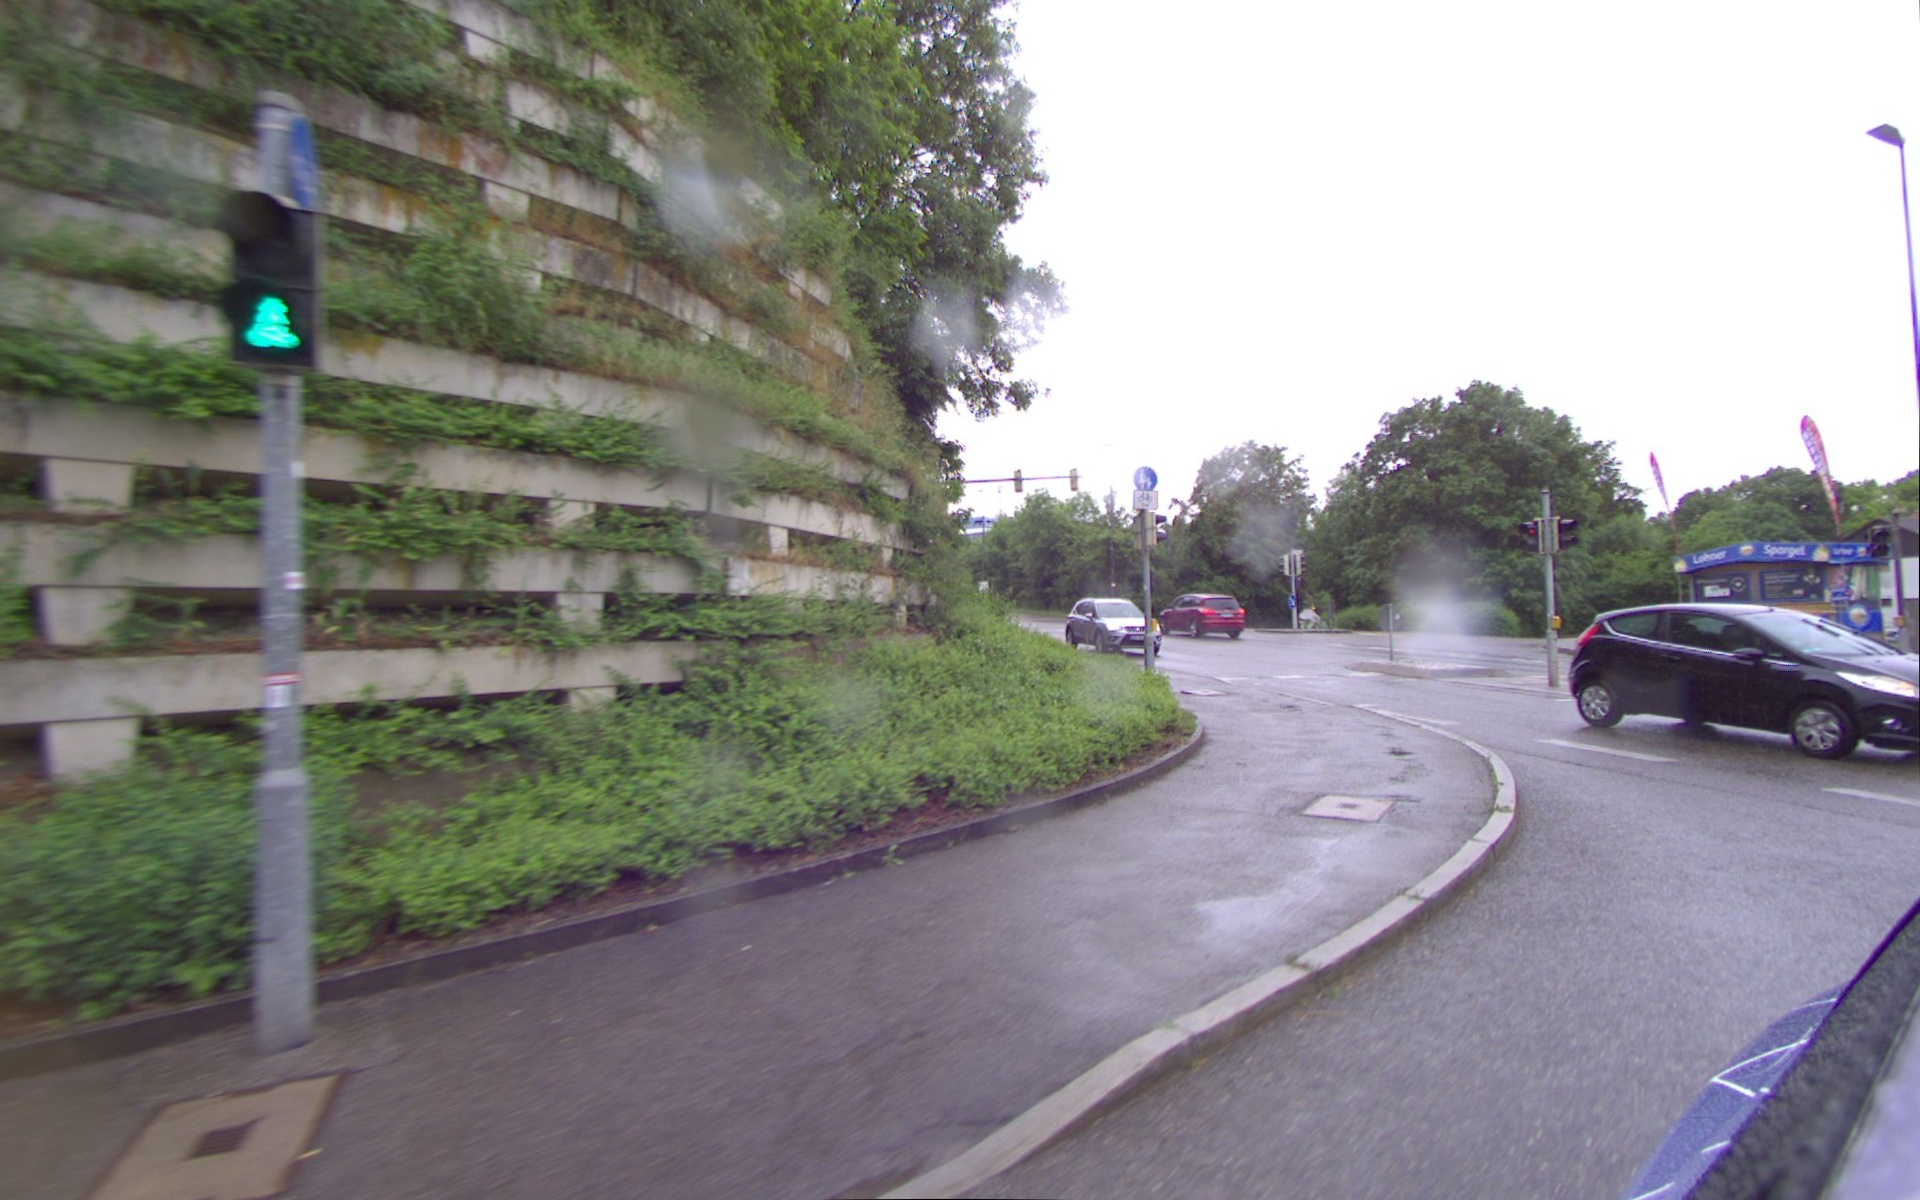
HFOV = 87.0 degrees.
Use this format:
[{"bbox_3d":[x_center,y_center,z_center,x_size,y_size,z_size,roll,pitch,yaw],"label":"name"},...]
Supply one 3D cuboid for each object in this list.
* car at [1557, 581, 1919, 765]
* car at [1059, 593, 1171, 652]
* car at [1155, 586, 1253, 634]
[{"bbox_3d":[8.663,0.637,10.856,1.647,1.590,3.896,1,0,-13],"label":"car"},{"bbox_3d":[4.296,0.593,28.742,1.647,1.526,4.162,1,0,-14],"label":"car"},{"bbox_3d":[9.317,0.352,39.065,1.863,1.736,4.691,0,0,-11],"label":"car"}]
